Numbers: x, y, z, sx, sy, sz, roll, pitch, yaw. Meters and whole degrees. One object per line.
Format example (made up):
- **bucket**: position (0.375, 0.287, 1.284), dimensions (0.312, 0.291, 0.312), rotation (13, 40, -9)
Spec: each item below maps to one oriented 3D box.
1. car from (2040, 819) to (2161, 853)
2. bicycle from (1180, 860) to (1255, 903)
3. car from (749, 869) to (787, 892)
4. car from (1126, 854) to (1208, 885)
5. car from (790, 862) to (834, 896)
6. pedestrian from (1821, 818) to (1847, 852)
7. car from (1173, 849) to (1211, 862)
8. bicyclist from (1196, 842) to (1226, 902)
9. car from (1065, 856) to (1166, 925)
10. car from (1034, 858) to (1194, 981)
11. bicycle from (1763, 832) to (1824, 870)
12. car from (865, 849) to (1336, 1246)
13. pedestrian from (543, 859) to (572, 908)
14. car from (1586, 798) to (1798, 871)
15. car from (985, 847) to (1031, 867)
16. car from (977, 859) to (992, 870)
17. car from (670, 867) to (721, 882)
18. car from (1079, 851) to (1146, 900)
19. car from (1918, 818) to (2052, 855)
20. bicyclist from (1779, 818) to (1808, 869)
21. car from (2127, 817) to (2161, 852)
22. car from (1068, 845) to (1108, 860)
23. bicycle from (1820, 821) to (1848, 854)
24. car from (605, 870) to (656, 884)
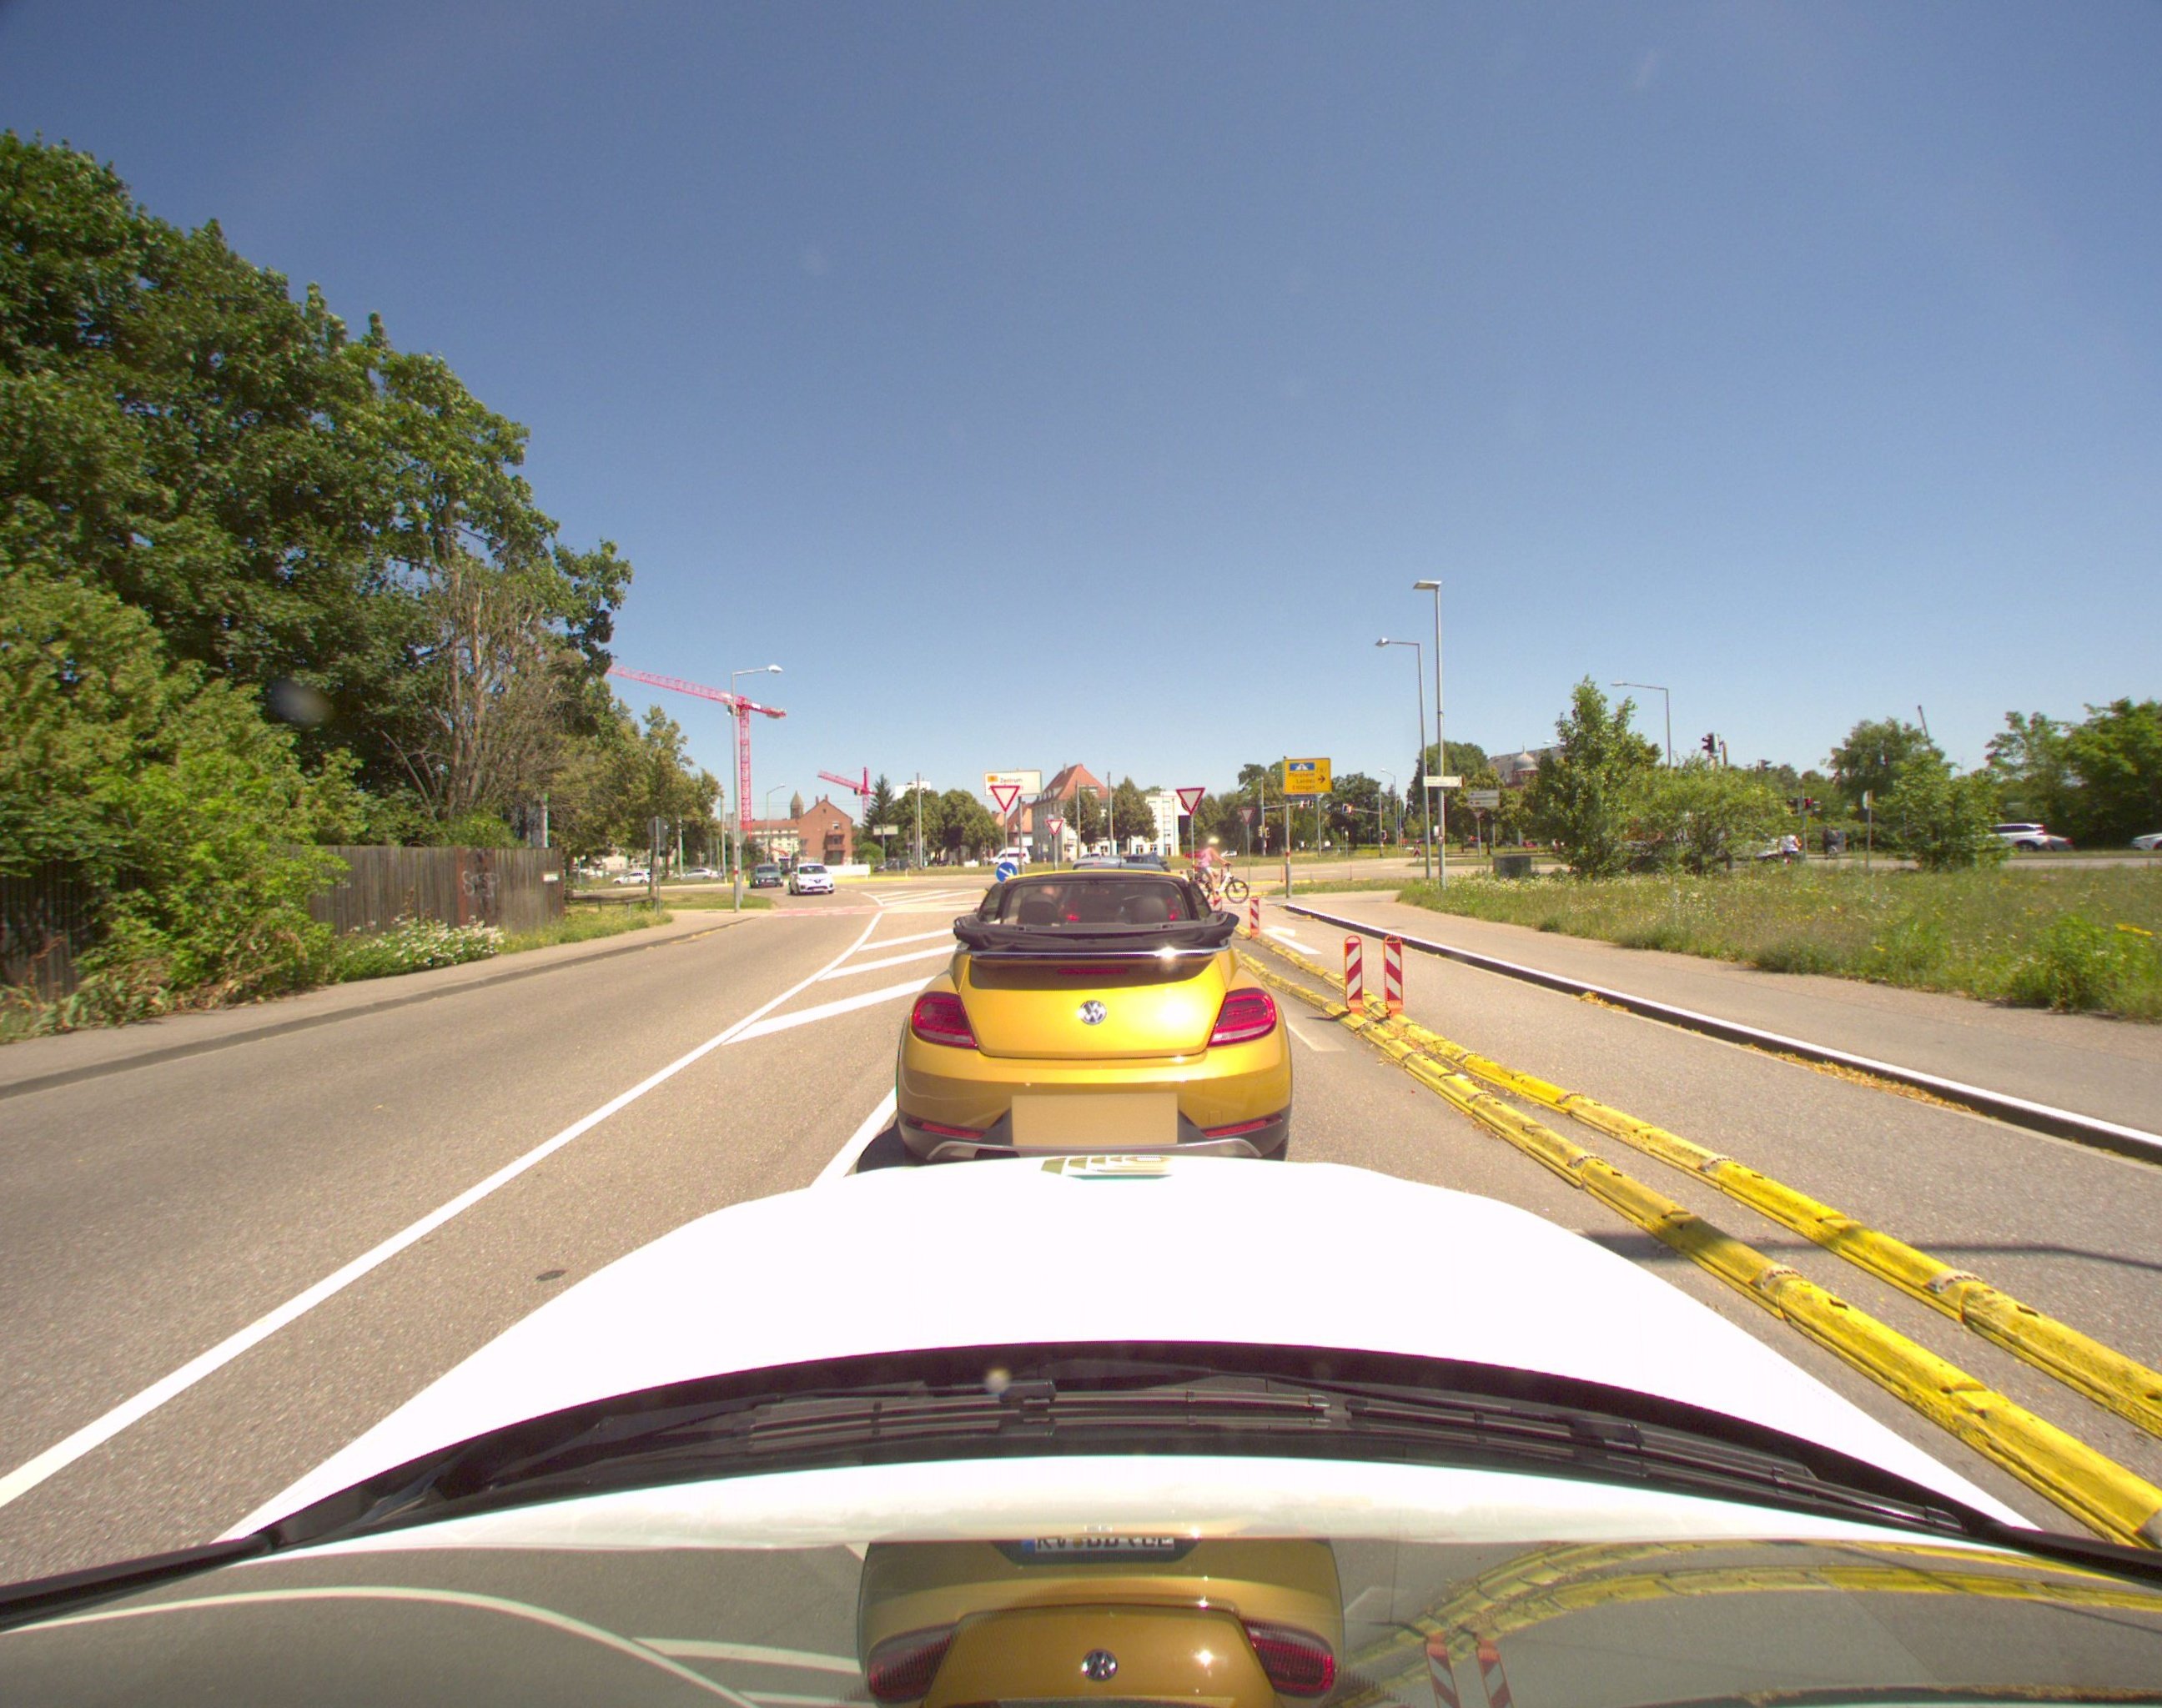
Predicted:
- **car**: position (51.388, -0.861, 40.620), dimensions (4.389, 1.592, 1.860), rotation (-1, -1, 43)
- **bicycle**: position (4.051, 0.821, 24.225), dimensions (2.073, 1.221, 0.637), rotation (-2, 0, 24)
- **car**: position (-20.429, 1.689, 53.299), dimensions (1.748, 1.371, 4.311), rotation (0, -1, -13)
- **car**: position (3.661, 0.644, 34.742), dimensions (3.221, 1.259, 1.427), rotation (0, -1, -24)
- **car**: position (-13.519, 1.202, 40.827), dimensions (1.783, 1.527, 3.844), rotation (-2, 0, -22)
- **pedestrian**: position (37.916, -0.945, 41.010), dimensions (0.959, 1.660, 0.892), rotation (-1, -1, 44)
- **car**: position (14.054, 0.189, 102.943), dimensions (4.292, 1.654, 1.912), rotation (-1, -1, 27)
- **bicyclist**: position (3.876, 0.535, 24.280), dimensions (0.664, 1.752, 0.596), rotation (-2, 1, 23)
- **car**: position (0.803, 0.757, 18.696), dimensions (2.056, 1.382, 4.261), rotation (0, -1, 3)
- **car**: position (0.456, 0.783, 11.746), dimensions (1.844, 1.366, 4.260), rotation (-2, 0, 2)
- **bicycle**: position (25.816, -0.109, 29.493), dimensions (2.902, 1.353, 0.635), rotation (0, -1, -28)
- **car**: position (0.135, 0.746, 5.189), dimensions (1.758, 1.481, 4.259), rotation (0, -1, 2)
- **pedestrian**: position (-19.307, 1.076, 30.018), dimensions (0.956, 1.786, 0.642), rotation (-1, -1, 39)
- **car**: position (25.244, -0.731, 34.031), dimensions (6.801, 2.828, 2.011), rotation (-1, -1, 22)
- **car**: position (-8.854, 0.378, 98.943), dimensions (5.327, 2.397, 1.981), rotation (0, -1, -19)
- **car**: position (-16.489, 1.781, 139.415), dimensions (1.889, 1.772, 3.977), rotation (0, -1, -17)
- **car**: position (-39.054, 2.065, 82.556), dimensions (4.312, 1.371, 1.748), rotation (0, -1, -6)
- **car**: position (1.061, 0.676, 28.055), dimensions (2.057, 1.481, 4.545), rotation (-2, 0, 2)
- **car**: position (45.930, -0.831, 41.525), dimensions (4.389, 1.736, 1.860), rotation (-1, -1, 43)
- **bicyclist**: position (25.772, -0.368, 29.473), dimensions (0.573, 1.841, 0.603), rotation (0, -1, -29)
- **car**: position (51.284, -0.912, 36.969), dimensions (4.389, 1.592, 1.860), rotation (-1, -1, 43)
- **car**: position (0.970, -0.196, 112.931), dimensions (5.263, 2.070, 2.005), rotation (-1, -1, 24)
- **bicycle**: position (38.016, -0.816, 41.119), dimensions (0.972, 1.597, 2.900), rotation (-1, -1, 43)
- **car**: position (-46.994, 2.351, 84.984), dimensions (4.311, 1.371, 1.749), rotation (0, -1, -6)
